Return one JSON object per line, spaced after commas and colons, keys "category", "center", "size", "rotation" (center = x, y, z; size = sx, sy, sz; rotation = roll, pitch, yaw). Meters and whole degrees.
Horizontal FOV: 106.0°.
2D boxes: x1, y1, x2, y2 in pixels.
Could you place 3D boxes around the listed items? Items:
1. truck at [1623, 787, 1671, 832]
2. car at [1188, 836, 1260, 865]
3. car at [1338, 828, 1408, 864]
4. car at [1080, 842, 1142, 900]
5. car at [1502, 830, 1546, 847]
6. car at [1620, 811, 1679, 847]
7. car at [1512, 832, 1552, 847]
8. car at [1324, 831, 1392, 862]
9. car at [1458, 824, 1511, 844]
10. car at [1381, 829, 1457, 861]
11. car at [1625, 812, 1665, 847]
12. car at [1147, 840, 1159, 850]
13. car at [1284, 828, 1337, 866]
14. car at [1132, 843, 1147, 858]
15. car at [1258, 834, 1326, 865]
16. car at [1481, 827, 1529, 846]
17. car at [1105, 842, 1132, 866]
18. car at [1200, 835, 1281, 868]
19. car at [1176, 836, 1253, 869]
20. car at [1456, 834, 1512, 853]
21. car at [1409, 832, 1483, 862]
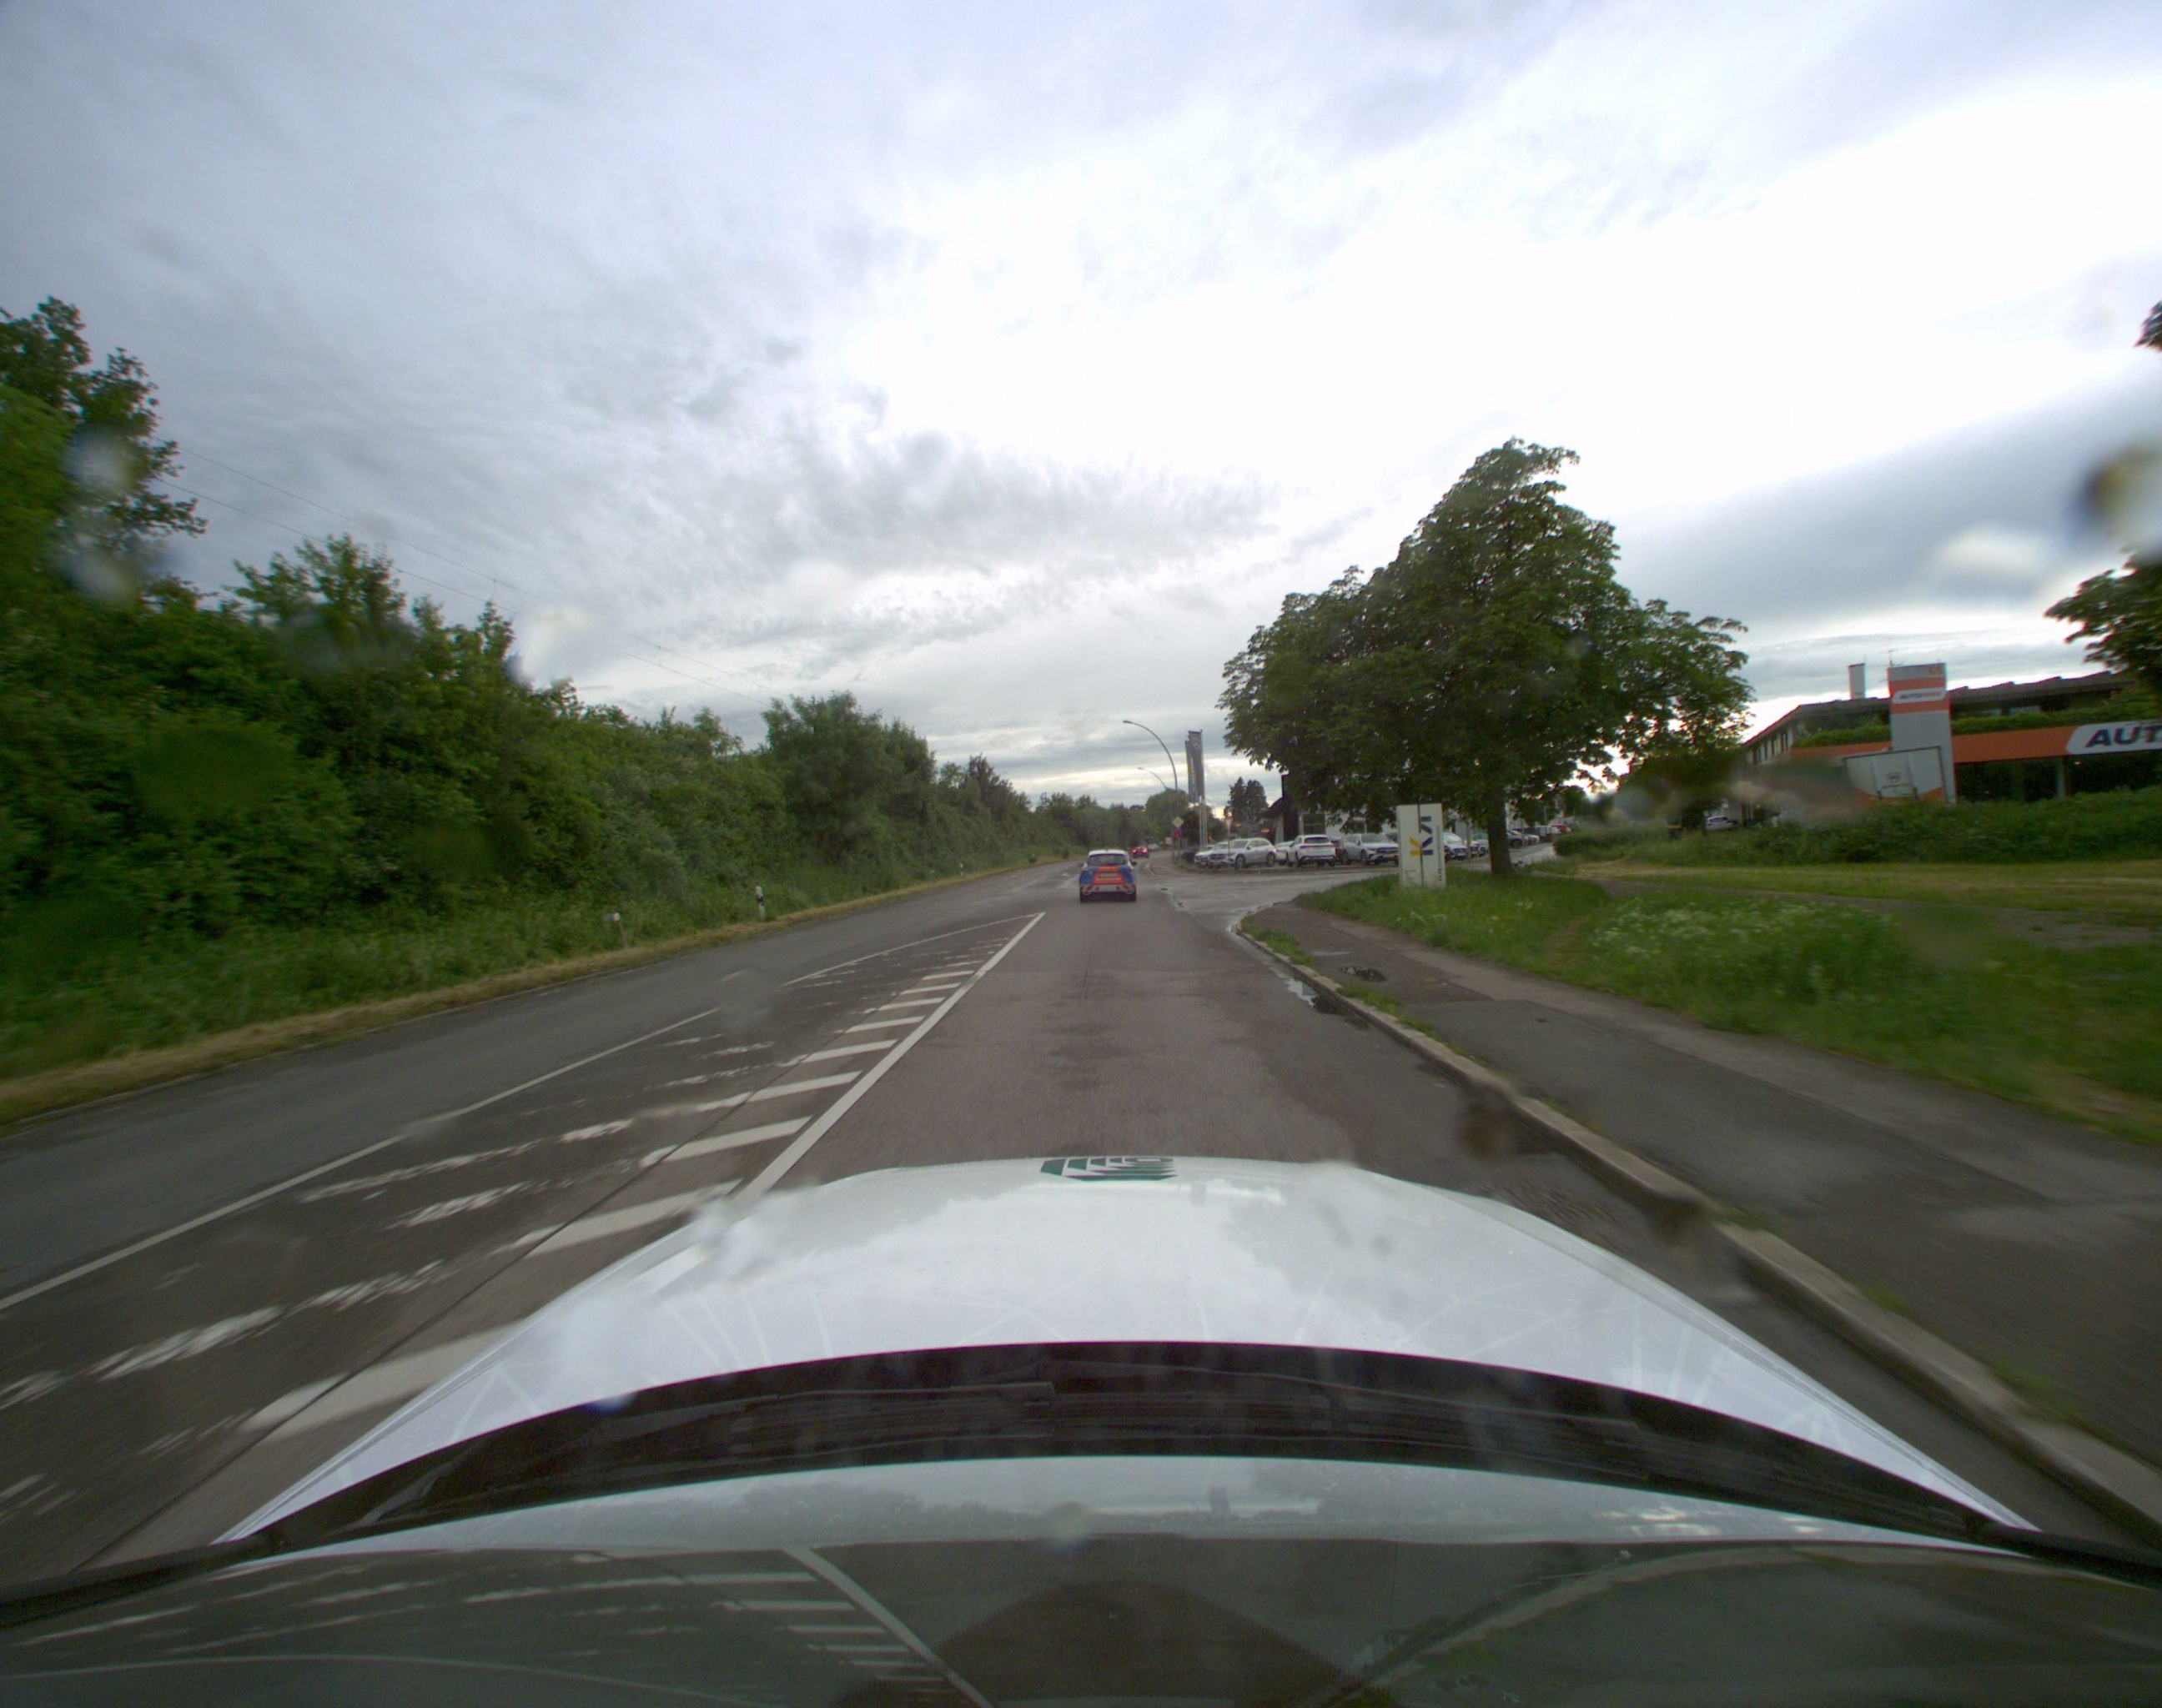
{"category": "truck", "center": [43.476, -3.327, 62.509], "size": [2.456, 2.995, 6.965], "rotation": [-1, -1, 40]}
{"category": "car", "center": [9.214, -0.190, 52.377], "size": [4.638, 1.751, 1.788], "rotation": [0, -2, -35]}
{"category": "car", "center": [14.799, -0.378, 41.595], "size": [1.930, 1.751, 4.617], "rotation": [0, 0, 0]}
{"category": "car", "center": [0.940, 0.508, 25.656], "size": [1.799, 1.668, 3.857], "rotation": [0, 0, 2]}
{"category": "car", "center": [42.014, -1.444, 77.313], "size": [3.620, 1.496, 1.665], "rotation": [0, -1, 28]}
{"category": "car", "center": [34.209, -1.458, 49.143], "size": [1.761, 2.033, 4.312], "rotation": [-1, 0, 18]}
{"category": "car", "center": [46.606, -1.473, 84.189], "size": [3.620, 1.496, 1.665], "rotation": [0, -1, 28]}
{"category": "car", "center": [16.599, -0.478, 48.691], "size": [4.644, 1.751, 1.908], "rotation": [-1, 0, -43]}
{"category": "car", "center": [31.606, -1.535, 63.780], "size": [3.620, 1.496, 1.665], "rotation": [0, -1, 28]}
{"category": "car", "center": [17.815, -0.425, 43.156], "size": [1.648, 1.602, 4.607], "rotation": [0, 0, -7]}
{"category": "car", "center": [38.870, -1.687, 56.090], "size": [1.901, 2.251, 4.319], "rotation": [-2, 0, 38]}
{"category": "car", "center": [13.905, -1.786, 158.186], "size": [1.681, 1.790, 3.871], "rotation": [0, 0, 15]}
{"category": "car", "center": [11.740, -0.324, 41.924], "size": [1.818, 1.829, 4.269], "rotation": [0, 0, 5]}
{"category": "car", "center": [7.432, -0.393, 103.062], "size": [1.684, 1.790, 3.865], "rotation": [0, 0, 8]}
{"category": "car", "center": [12.743, -0.307, 49.055], "size": [1.907, 1.751, 4.646], "rotation": [-1, 1, 44]}
{"category": "car", "center": [36.113, -1.497, 69.421], "size": [3.620, 1.496, 1.665], "rotation": [0, -1, 28]}
{"category": "car", "center": [2.707, 0.006, 57.525], "size": [1.685, 1.595, 3.862], "rotation": [0, 0, 6]}
{"category": "car", "center": [8.776, -0.112, 44.639], "size": [4.644, 1.751, 2.011], "rotation": [0, -1, -43]}
{"category": "car", "center": [7.849, -0.062, 47.733], "size": [4.644, 1.751, 2.010], "rotation": [0, -2, -43]}
{"category": "car", "center": [29.881, -0.742, 60.442], "size": [3.619, 1.376, 1.665], "rotation": [0, -1, 30]}
{"category": "car", "center": [20.557, -0.341, 46.090], "size": [1.648, 1.602, 4.607], "rotation": [0, 0, -7]}
